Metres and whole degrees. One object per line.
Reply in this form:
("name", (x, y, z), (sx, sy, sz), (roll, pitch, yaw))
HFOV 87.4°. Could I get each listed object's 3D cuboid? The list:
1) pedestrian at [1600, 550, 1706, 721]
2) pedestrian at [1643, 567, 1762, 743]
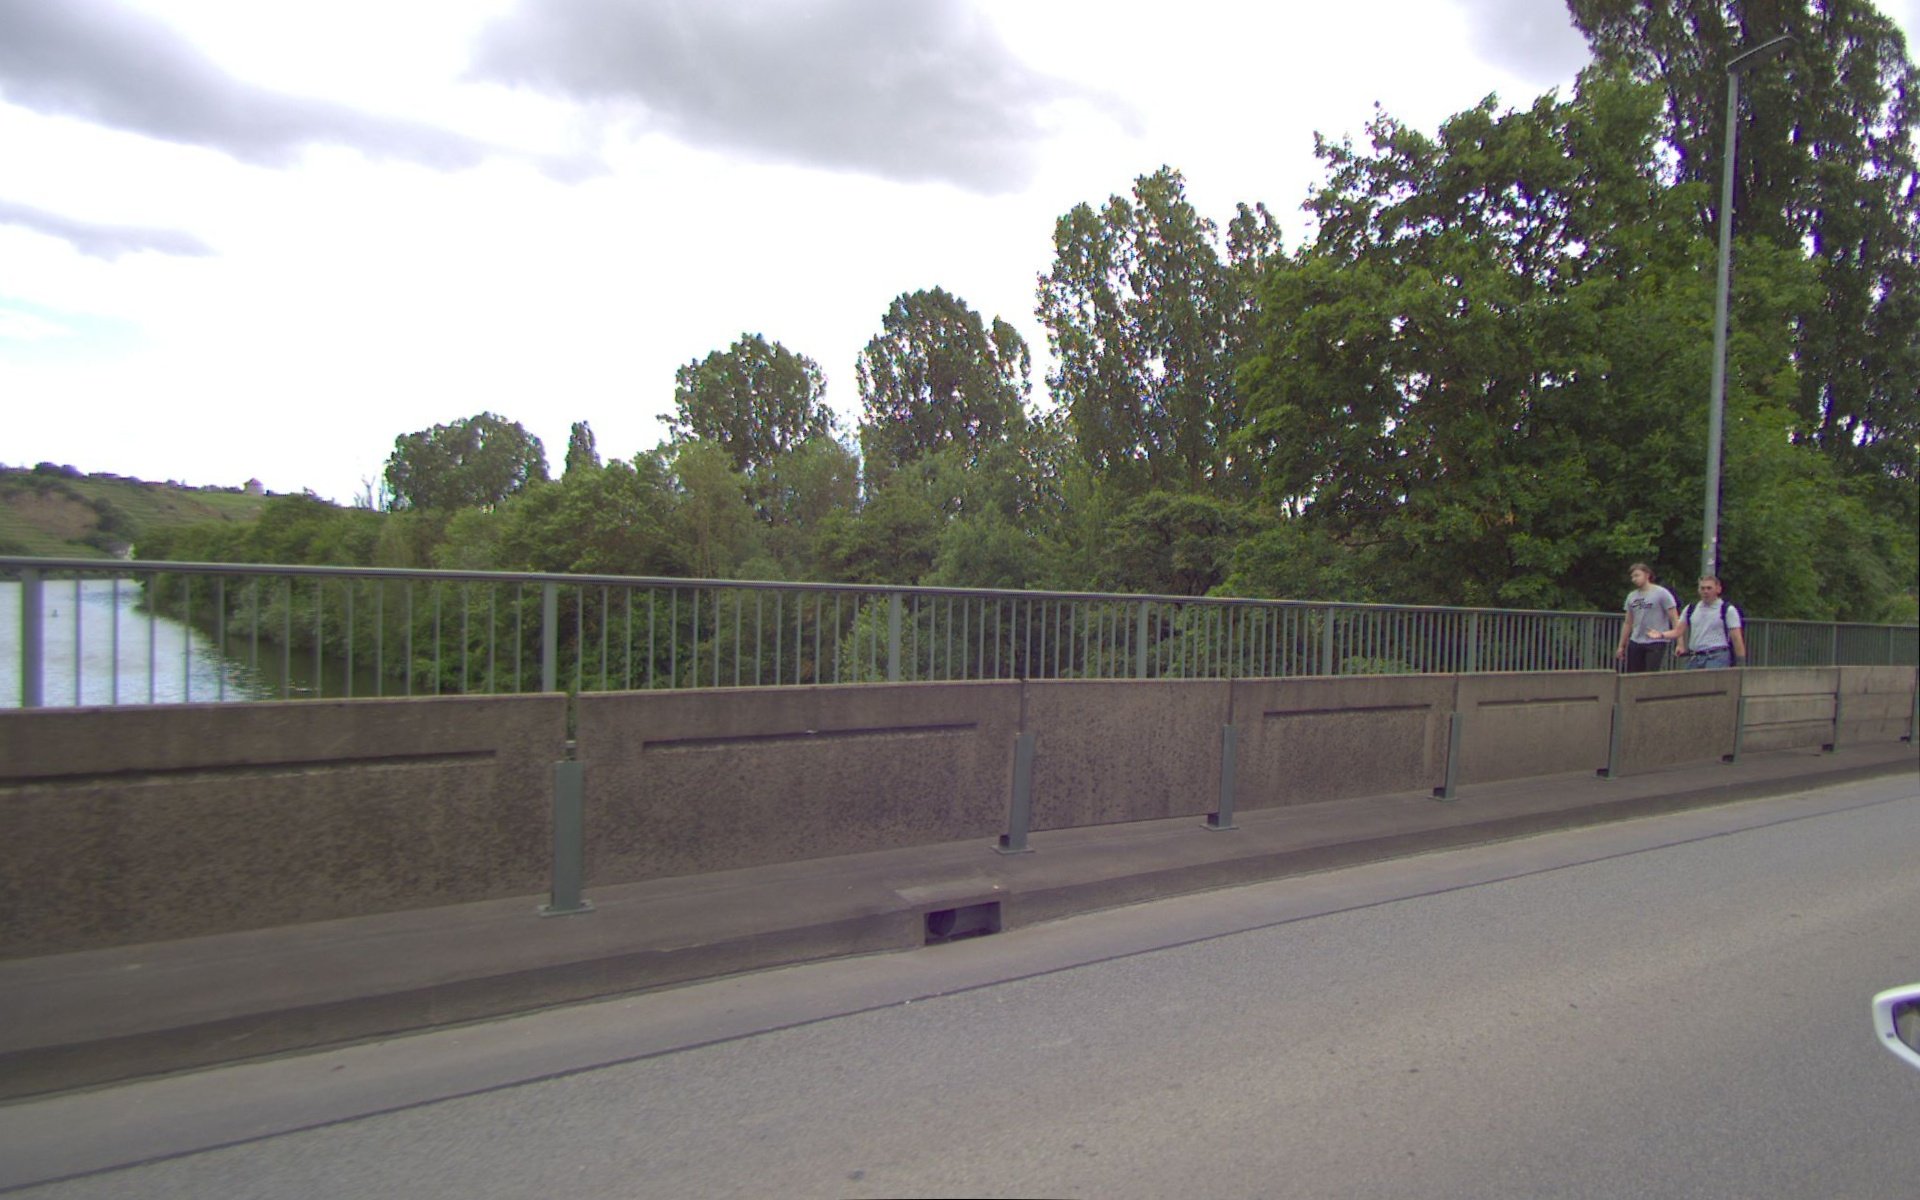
("pedestrian", (7.905, 0.387, 11.466), (0.714, 1.864, 0.717), (1, 1, -30))
("pedestrian", (7.605, 0.535, 10.303), (0.714, 1.724, 0.717), (1, 1, -30))
